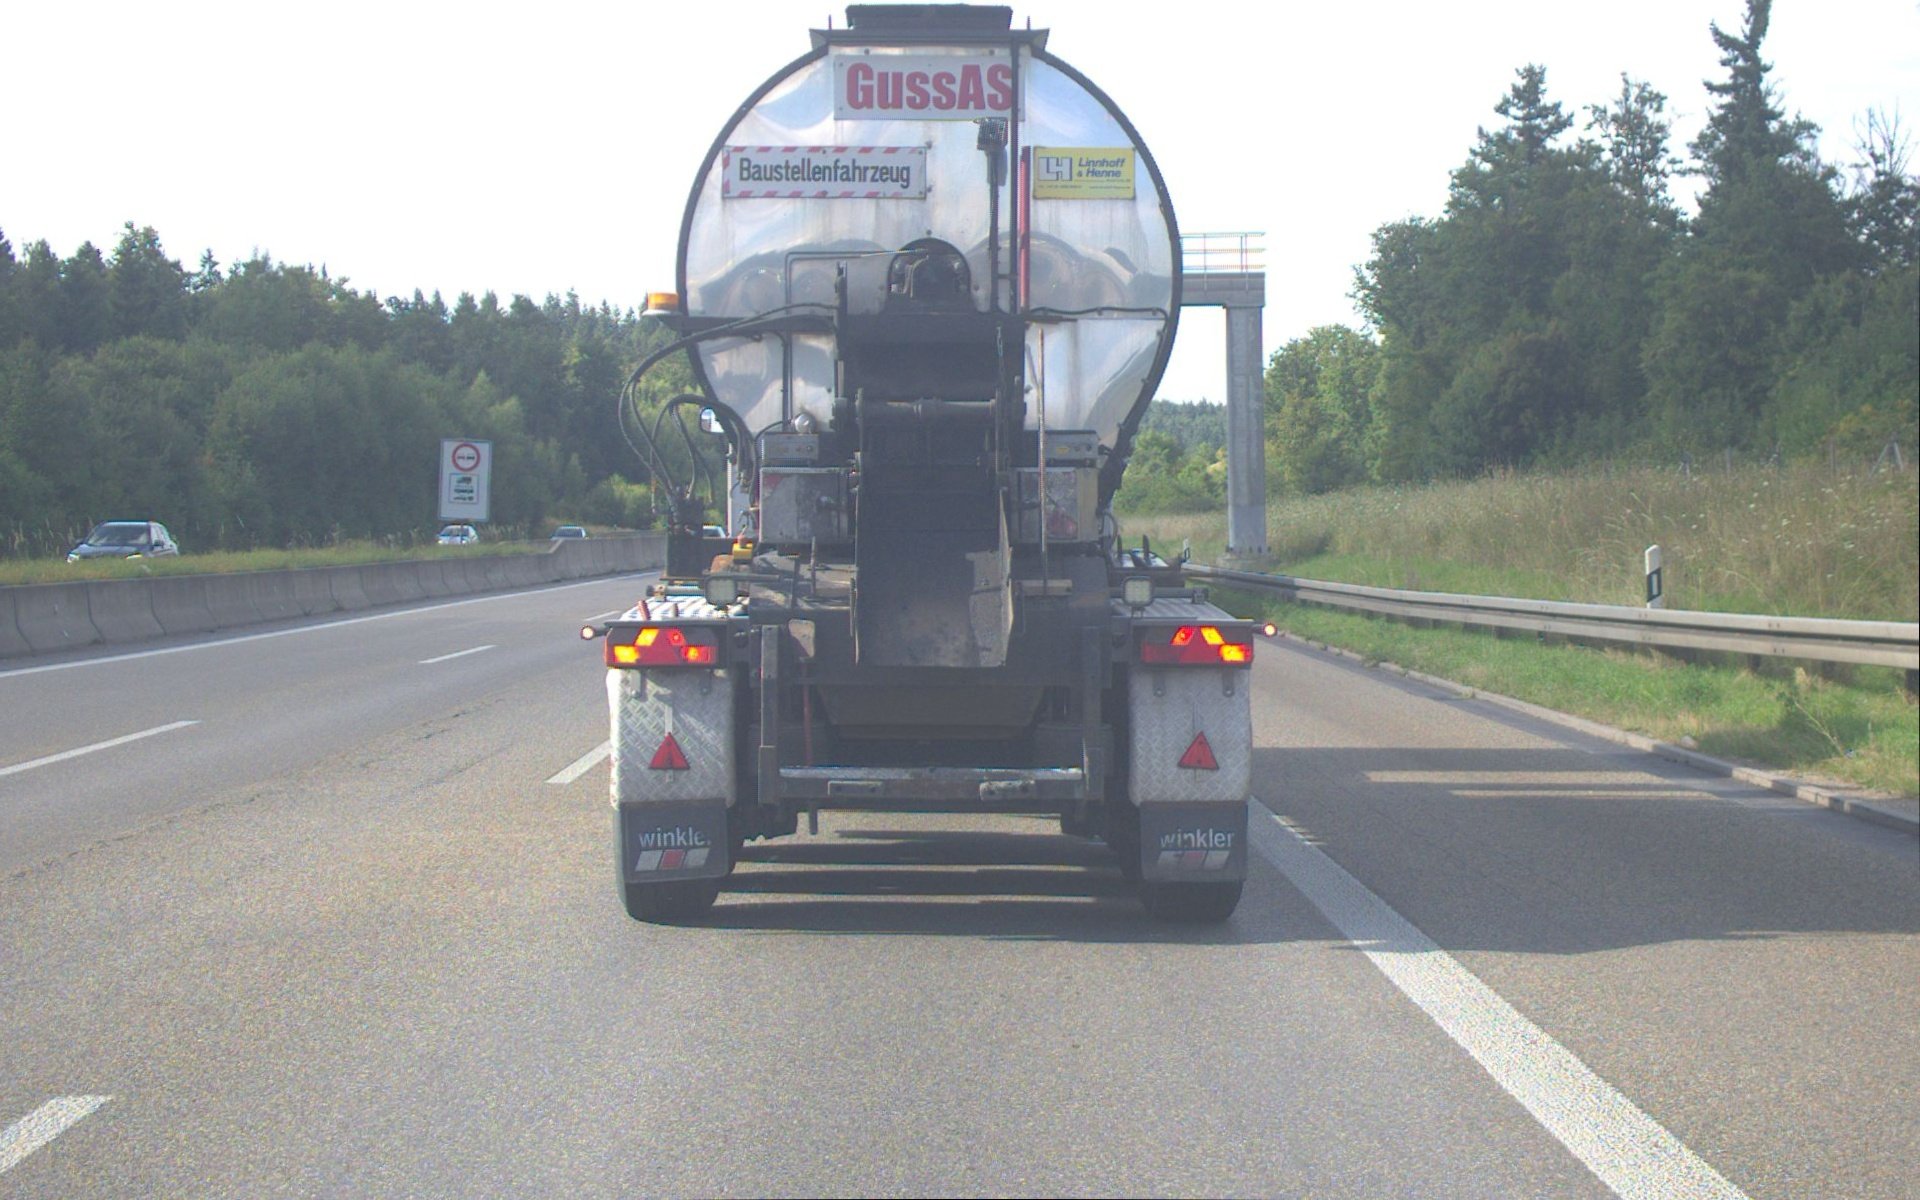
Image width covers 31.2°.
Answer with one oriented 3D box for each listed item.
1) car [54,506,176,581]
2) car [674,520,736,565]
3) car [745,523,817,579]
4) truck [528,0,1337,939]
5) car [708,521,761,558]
[{"bbox_3d":[-19.866,-1.352,80.987,1.906,1.711,4.000,0,1,0],"label":"car"},{"bbox_3d":[-8.663,-1.961,116.994,1.835,1.512,4.333,0,1,-1],"label":"car"},{"bbox_3d":[-4.977,-1.393,96.090,1.835,1.512,4.333,0,1,-1],"label":"car"},{"bbox_3d":[-0.135,-0.972,18.077,2.912,4.143,11.270,0,1,0],"label":"truck"},{"bbox_3d":[-8.950,-2.398,136.681,1.856,1.426,4.841,0,1,-1],"label":"car"}]
